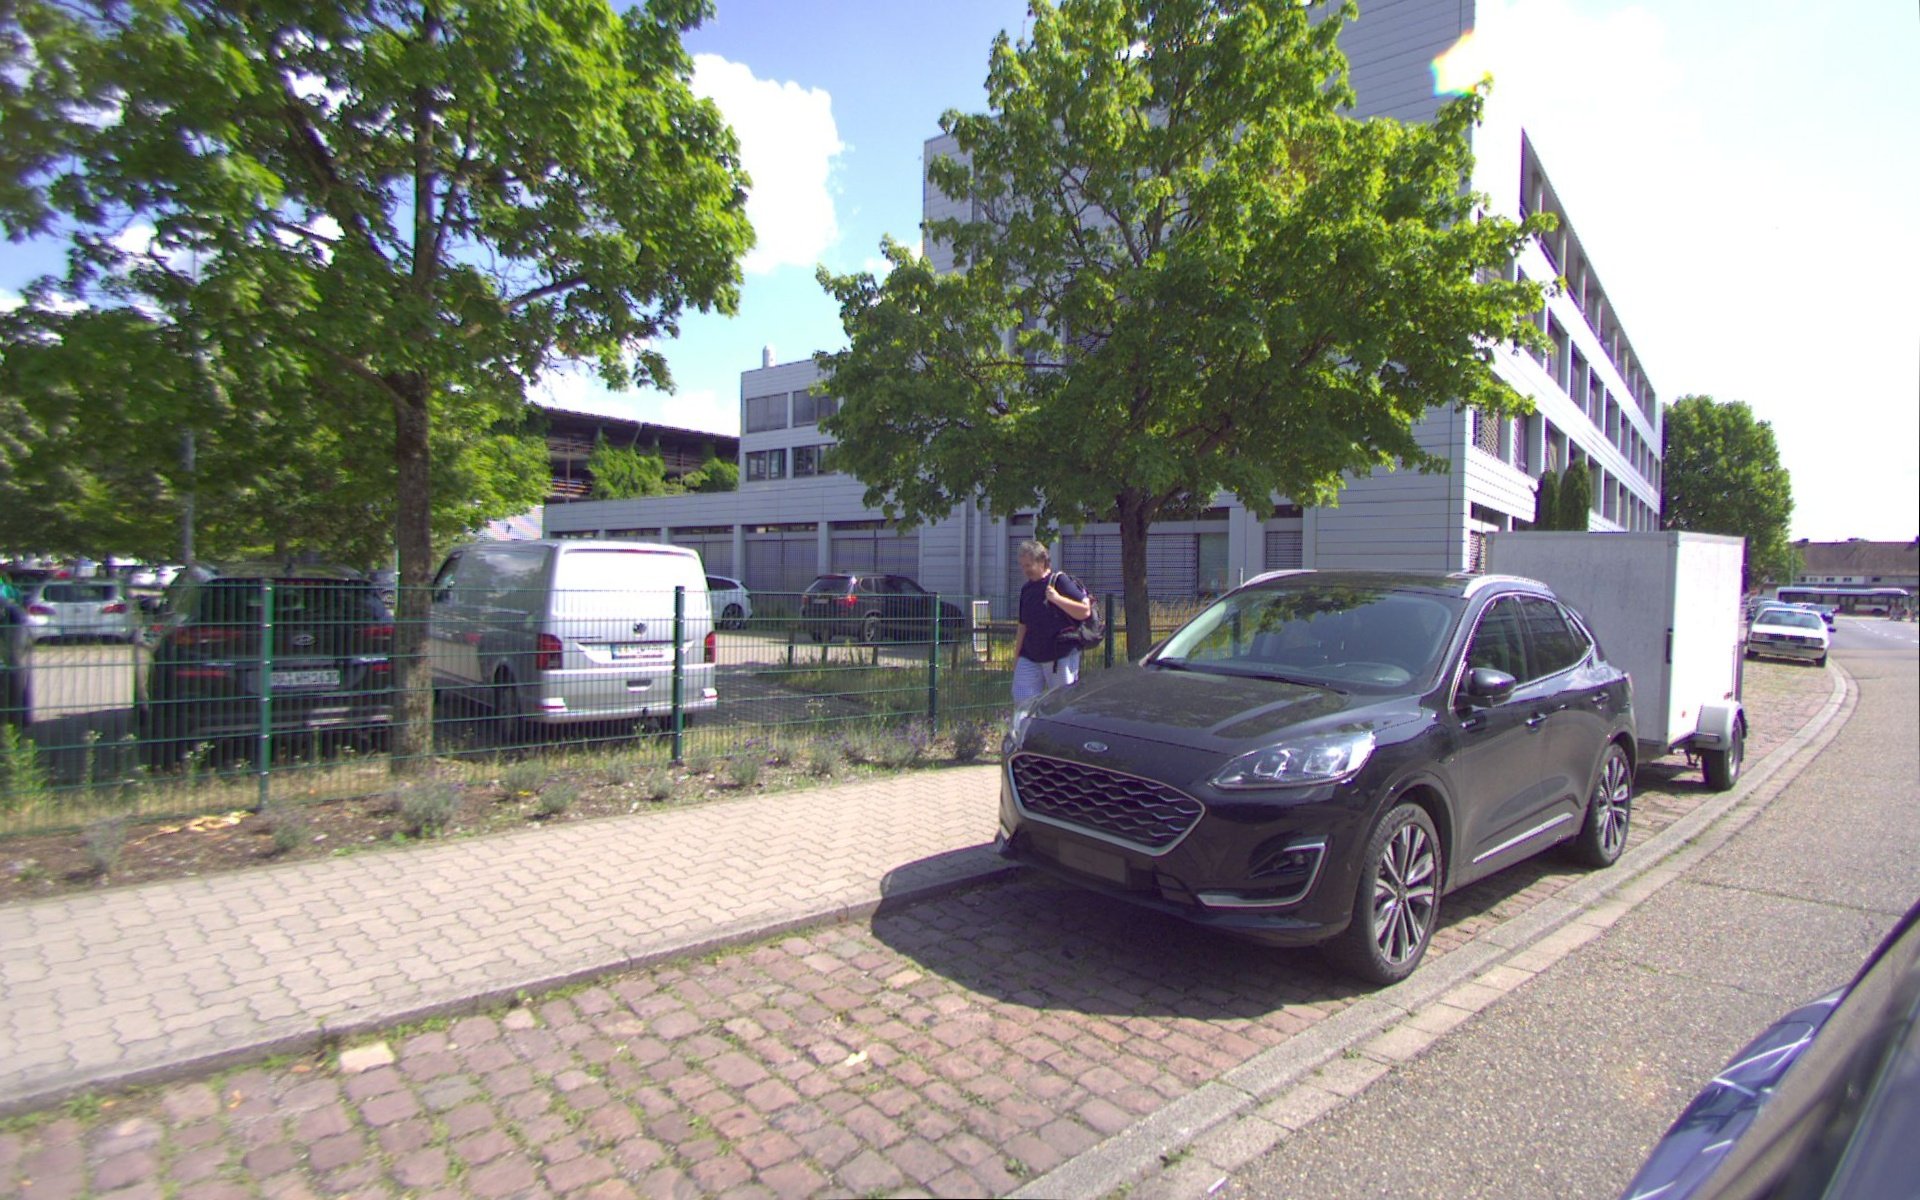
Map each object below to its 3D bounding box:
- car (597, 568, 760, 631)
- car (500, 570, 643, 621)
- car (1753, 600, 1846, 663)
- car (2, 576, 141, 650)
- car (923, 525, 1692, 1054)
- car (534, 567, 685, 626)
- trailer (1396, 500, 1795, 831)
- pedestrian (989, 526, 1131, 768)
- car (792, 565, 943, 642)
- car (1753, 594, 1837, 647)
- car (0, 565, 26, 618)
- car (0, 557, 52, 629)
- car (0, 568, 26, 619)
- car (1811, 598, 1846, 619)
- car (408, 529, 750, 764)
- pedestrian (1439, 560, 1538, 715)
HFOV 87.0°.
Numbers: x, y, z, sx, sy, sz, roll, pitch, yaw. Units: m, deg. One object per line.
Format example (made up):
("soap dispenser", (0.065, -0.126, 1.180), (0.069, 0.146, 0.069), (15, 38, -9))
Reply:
("car", (-8.145, -0.018, 29.653), (1.726, 1.701, 4.471), (-1, 0, 38))
("car", (-12.623, -0.160, 33.063), (1.945, 1.567, 3.948), (-1, 1, 36))
("car", (21.892, 0.760, 26.405), (1.672, 1.384, 4.098), (6, 4, 40))
("car", (-18.509, 0.216, 21.248), (1.804, 1.392, 3.999), (0, 1, -36))
("car", (2.196, 0.567, 5.498), (4.628, 1.703, 1.864), (0, 3, -42))
("car", (-10.624, -0.100, 30.892), (1.947, 1.672, 3.944), (-1, 0, 38))
("trailer", (5.371, 0.359, 8.348), (3.880, 2.092, 1.748), (0, 3, -43))
("pedestrian", (0.756, 0.318, 7.696), (0.727, 1.714, 0.722), (1, 2, -43))
("car", (-2.125, 0.088, 23.854), (1.818, 1.669, 3.290), (0, -1, 38))
("car", (28.076, 0.646, 34.150), (1.805, 1.523, 3.948), (6, 3, 36))
("car", (-27.410, -0.217, 28.161), (1.557, 1.430, 3.299), (0, -1, -33))
("car", (-37.539, -0.233, 39.135), (2.695, 2.632, 5.800), (0, -1, -33))
("car", (-27.577, -0.201, 28.297), (1.719, 1.392, 3.711), (0, 1, -36))
("car", (61.049, 0.580, 71.167), (1.654, 1.302, 3.691), (5, 3, 38))
("car", (-4.285, 0.334, 10.914), (1.965, 1.990, 4.476), (2, 1, -41))
("pedestrian", (6.046, 0.412, 11.580), (0.570, 1.666, 0.728), (2, 3, -44))
